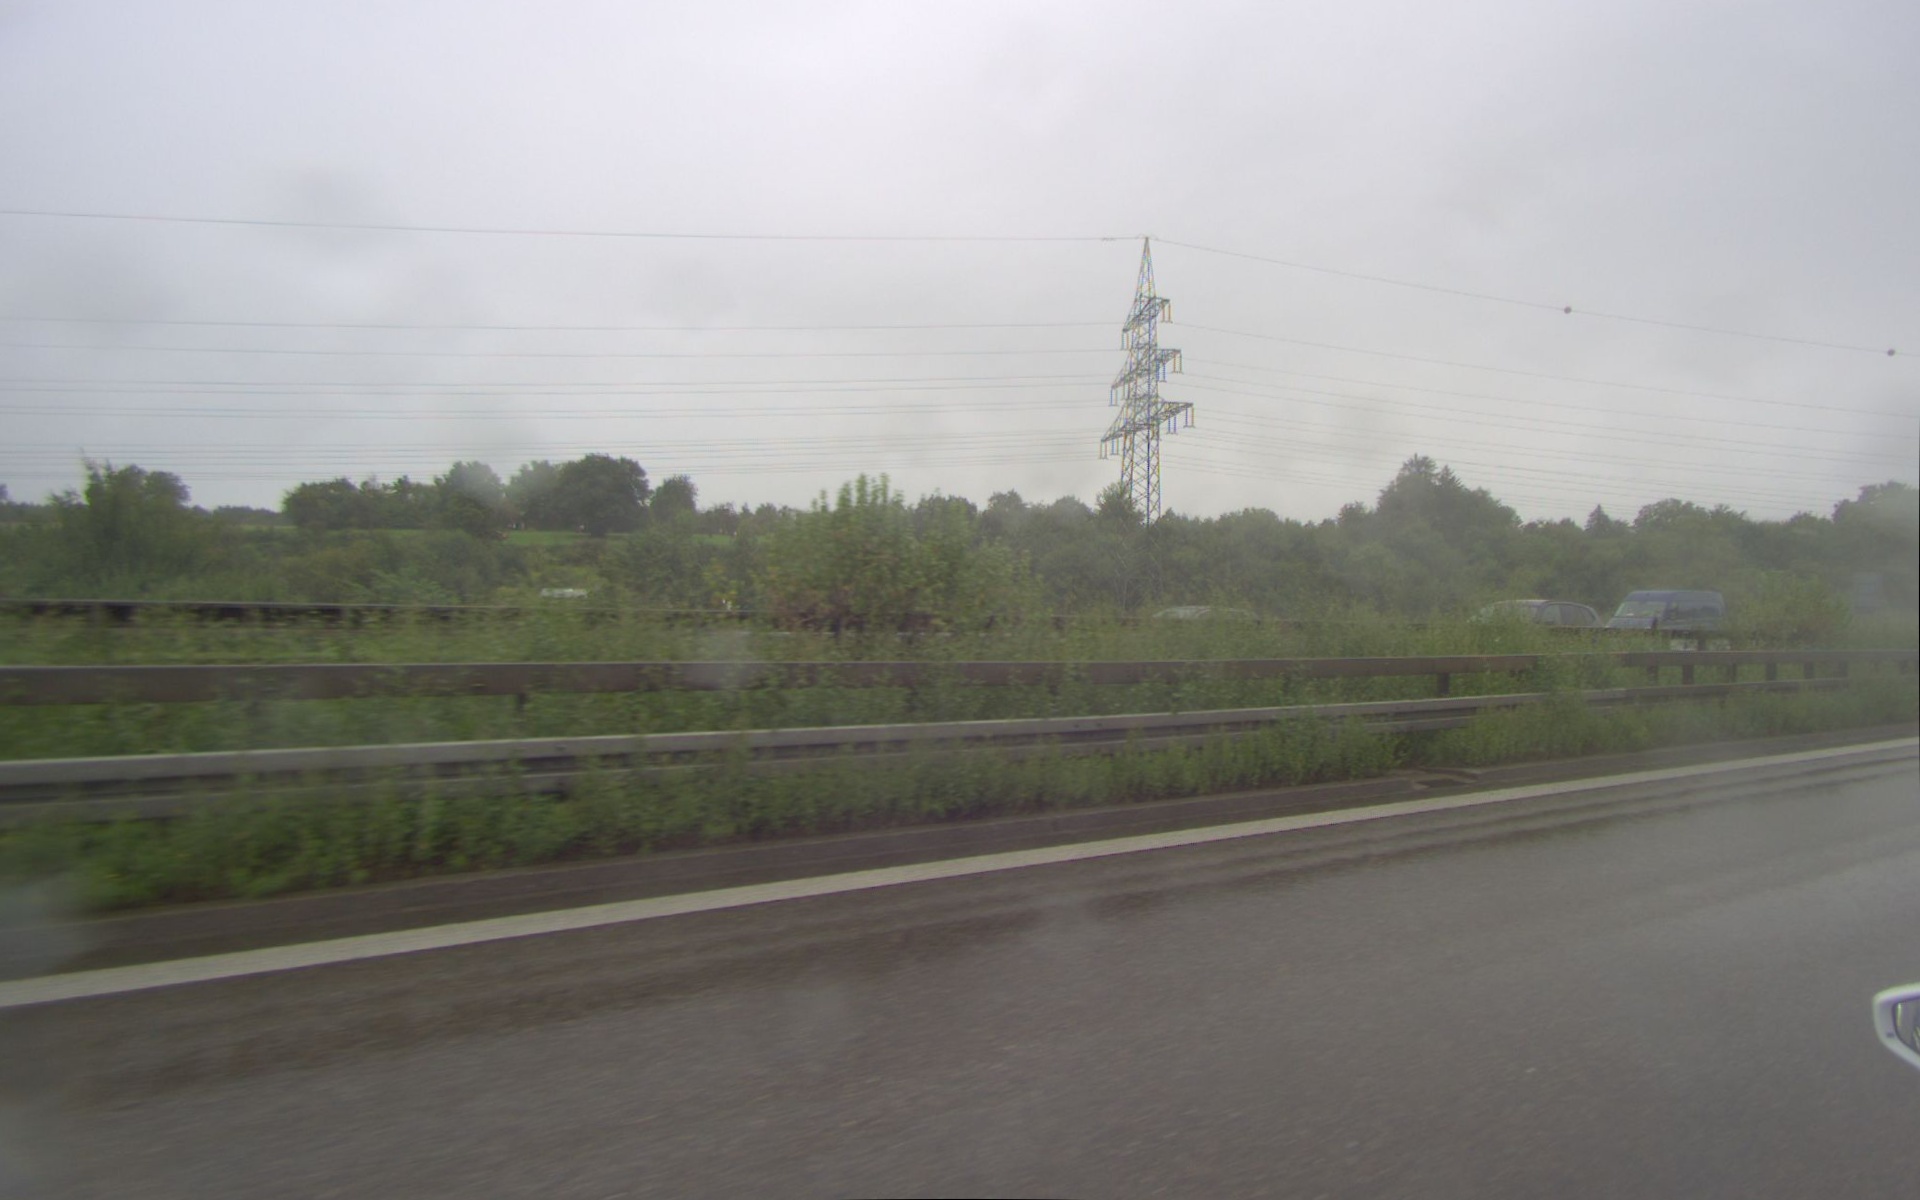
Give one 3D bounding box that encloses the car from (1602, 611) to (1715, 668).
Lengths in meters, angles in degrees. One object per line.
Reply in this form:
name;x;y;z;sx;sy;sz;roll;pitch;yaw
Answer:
car;28.190;1.567;40.512;4.779;2.041;1.811;1;3;-30
